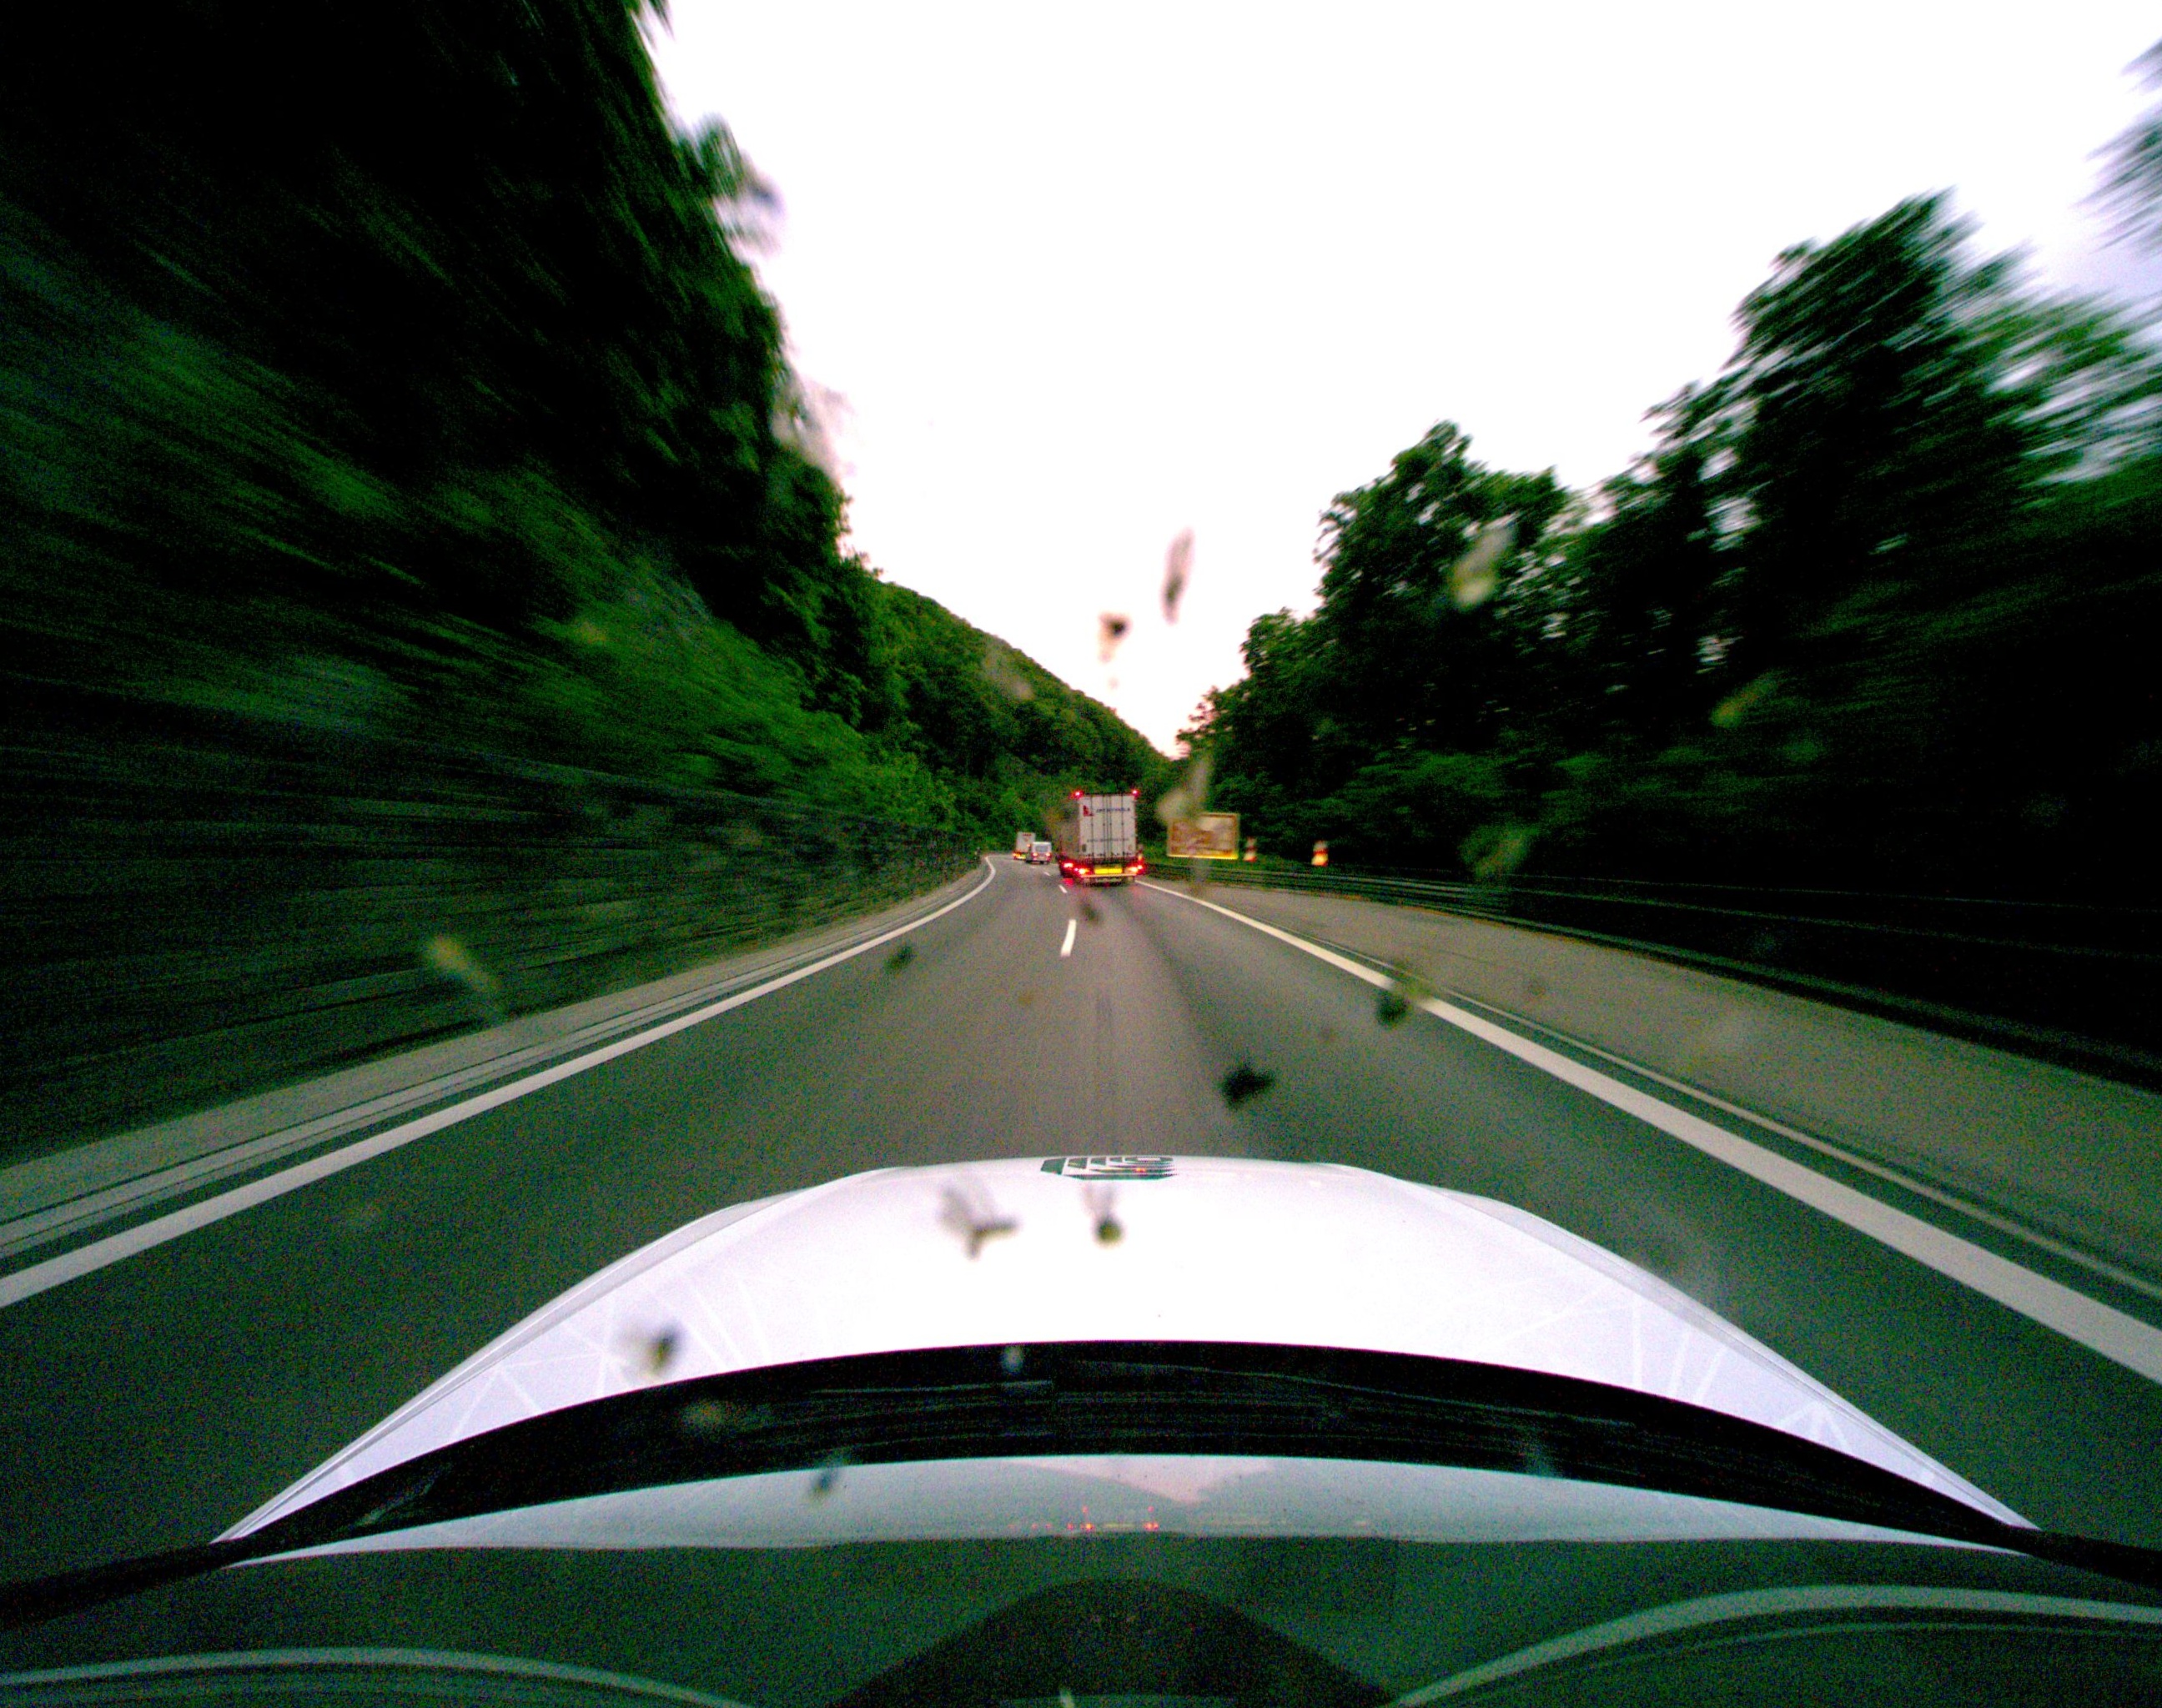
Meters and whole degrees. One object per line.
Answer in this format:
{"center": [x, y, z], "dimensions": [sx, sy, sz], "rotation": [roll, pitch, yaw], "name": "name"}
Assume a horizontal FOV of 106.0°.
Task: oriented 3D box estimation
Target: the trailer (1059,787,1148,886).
{"center": [0.738, -0.942, 40.666], "dimensions": [3.091, 3.969, 14.203], "rotation": [-2, 2, -3], "name": "trailer"}

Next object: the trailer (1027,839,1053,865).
{"center": [-4.254, -0.273, 83.730], "dimensions": [2.053, 2.374, 5.923], "rotation": [5, 1, -8], "name": "trailer"}

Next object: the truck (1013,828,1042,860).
{"center": [-7.638, -1.265, 118.589], "dimensions": [3.285, 4.173, 16.491], "rotation": [1, -1, -1], "name": "truck"}

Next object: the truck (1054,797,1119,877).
{"center": [0.186, -1.020, 47.372], "dimensions": [3.064, 4.143, 6.437], "rotation": [-3, 2, -5], "name": "truck"}
